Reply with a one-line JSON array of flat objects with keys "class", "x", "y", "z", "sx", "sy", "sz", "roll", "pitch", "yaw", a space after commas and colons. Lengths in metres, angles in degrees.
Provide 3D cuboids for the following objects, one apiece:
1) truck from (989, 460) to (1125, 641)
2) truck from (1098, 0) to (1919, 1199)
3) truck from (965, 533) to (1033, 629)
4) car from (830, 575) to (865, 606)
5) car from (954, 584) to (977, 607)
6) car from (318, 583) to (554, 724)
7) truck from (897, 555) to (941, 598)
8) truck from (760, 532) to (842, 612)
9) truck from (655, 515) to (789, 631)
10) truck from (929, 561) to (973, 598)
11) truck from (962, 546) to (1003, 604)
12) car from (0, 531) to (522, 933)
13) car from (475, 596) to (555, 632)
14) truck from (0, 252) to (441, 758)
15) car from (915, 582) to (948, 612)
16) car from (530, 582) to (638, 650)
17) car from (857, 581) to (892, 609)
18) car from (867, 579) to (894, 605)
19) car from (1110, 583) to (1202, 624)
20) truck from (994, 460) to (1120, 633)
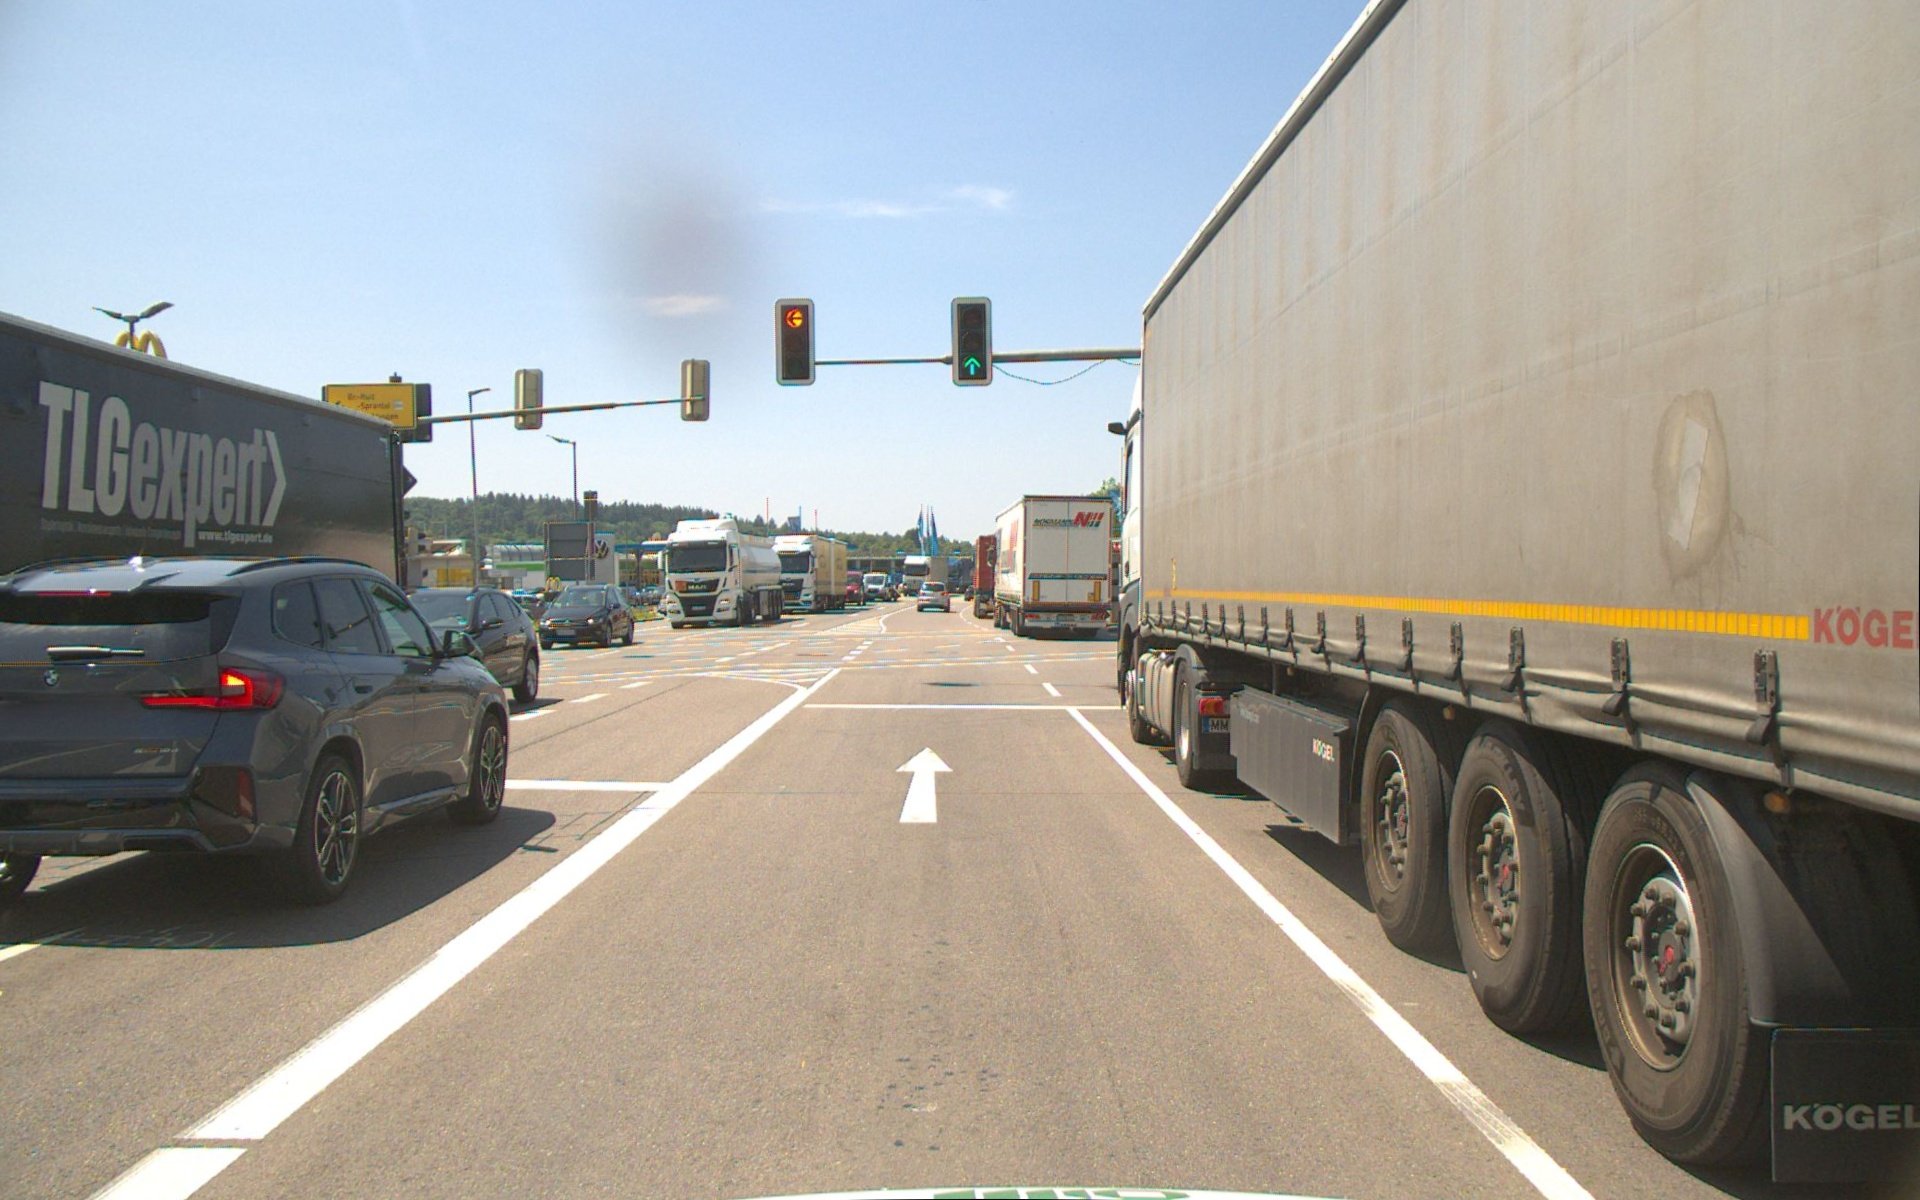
[{"class": "truck", "x": 2.820, "y": -1.418, "z": 53.173, "sx": 2.875, "sy": 4.922, "sz": 14.866, "roll": -2, "pitch": 0, "yaw": -2}, {"class": "truck", "x": 3.013, "y": -0.582, "z": 9.802, "sx": 2.700, "sy": 4.720, "sz": 16.650, "roll": 0, "pitch": -1, "yaw": -1}, {"class": "truck", "x": 1.880, "y": -0.782, "z": 86.688, "sx": 2.817, "sy": 4.557, "sz": 16.650, "roll": 0, "pitch": -1, "yaw": -1}, {"class": "car", "x": -7.683, "y": -0.648, "z": 113.321, "sx": 1.952, "sy": 2.049, "sz": 4.001, "roll": 0, "pitch": -1, "yaw": 3}, {"class": "car", "x": 0.517, "y": -0.391, "z": 150.434, "sx": 1.952, "sy": 2.049, "sz": 4.001, "roll": -1, "pitch": 0, "yaw": 2}, {"class": "car", "x": -6.352, "y": 0.583, "z": 20.491, "sx": 1.630, "sy": 1.535, "sz": 3.905, "roll": -2, "pitch": 0, "yaw": 0}, {"class": "truck", "x": -4.156, "y": -2.361, "z": 171.343, "sx": 3.202, "sy": 4.019, "sz": 13.871, "roll": 0, "pitch": -1, "yaw": 5}, {"class": "truck", "x": -8.649, "y": -1.484, "z": 91.664, "sx": 2.874, "sy": 4.019, "sz": 13.867, "roll": -2, "pitch": 0, "yaw": 1}, {"class": "truck", "x": -9.241, "y": -1.027, "z": 66.104, "sx": 2.874, "sy": 4.019, "sz": 14.240, "roll": -2, "pitch": 0, "yaw": 1}, {"class": "truck", "x": -0.929, "y": -2.411, "z": 194.421, "sx": 3.201, "sy": 4.019, "sz": 13.876, "roll": -2, "pitch": 0, "yaw": 7}, {"class": "truck", "x": 1.499, "y": -1.660, "z": 115.071, "sx": 2.555, "sy": 3.782, "sz": 9.447, "roll": 0, "pitch": -1, "yaw": -1}, {"class": "car", "x": -3.786, "y": 0.532, "z": 9.008, "sx": 1.757, "sy": 1.655, "sz": 4.368, "roll": 0, "pitch": 0, "yaw": -2}, {"class": "car", "x": -22.852, "y": 0.705, "z": 85.050, "sx": 1.758, "sy": 1.687, "sz": 3.569, "roll": -1, "pitch": 1, "yaw": 41}, {"class": "truck", "x": -9.872, "y": -0.826, "z": 17.159, "sx": 3.081, "sy": 4.425, "sz": 17.545, "roll": -1, "pitch": 1, "yaw": 1}, {"class": "car", "x": -1.624, "y": -0.165, "z": 95.215, "sx": 1.767, "sy": 1.699, "sz": 4.292, "roll": 0, "pitch": 0, "yaw": 1}, {"class": "car", "x": -9.791, "y": 0.384, "z": 43.405, "sx": 1.788, "sy": 1.610, "sz": 4.246, "roll": -2, "pitch": 0, "yaw": 0}, {"class": "car", "x": -6.627, "y": -0.389, "z": 128.549, "sx": 2.157, "sy": 2.049, "sz": 4.758, "roll": -2, "pitch": 0, "yaw": 3}, {"class": "car", "x": -6.565, "y": -0.640, "z": 136.907, "sx": 1.865, "sy": 2.049, "sz": 4.001, "roll": 0, "pitch": -1, "yaw": 2}, {"class": "car", "x": 9.151, "y": 0.141, "z": 77.381, "sx": 3.913, "sy": 1.825, "sz": 1.996, "roll": -1, "pitch": 0, "yaw": -9}, {"class": "truck", "x": 2.824, "y": -1.352, "z": 53.674, "sx": 2.817, "sy": 4.720, "sz": 16.650, "roll": 0, "pitch": -1, "yaw": -1}]
